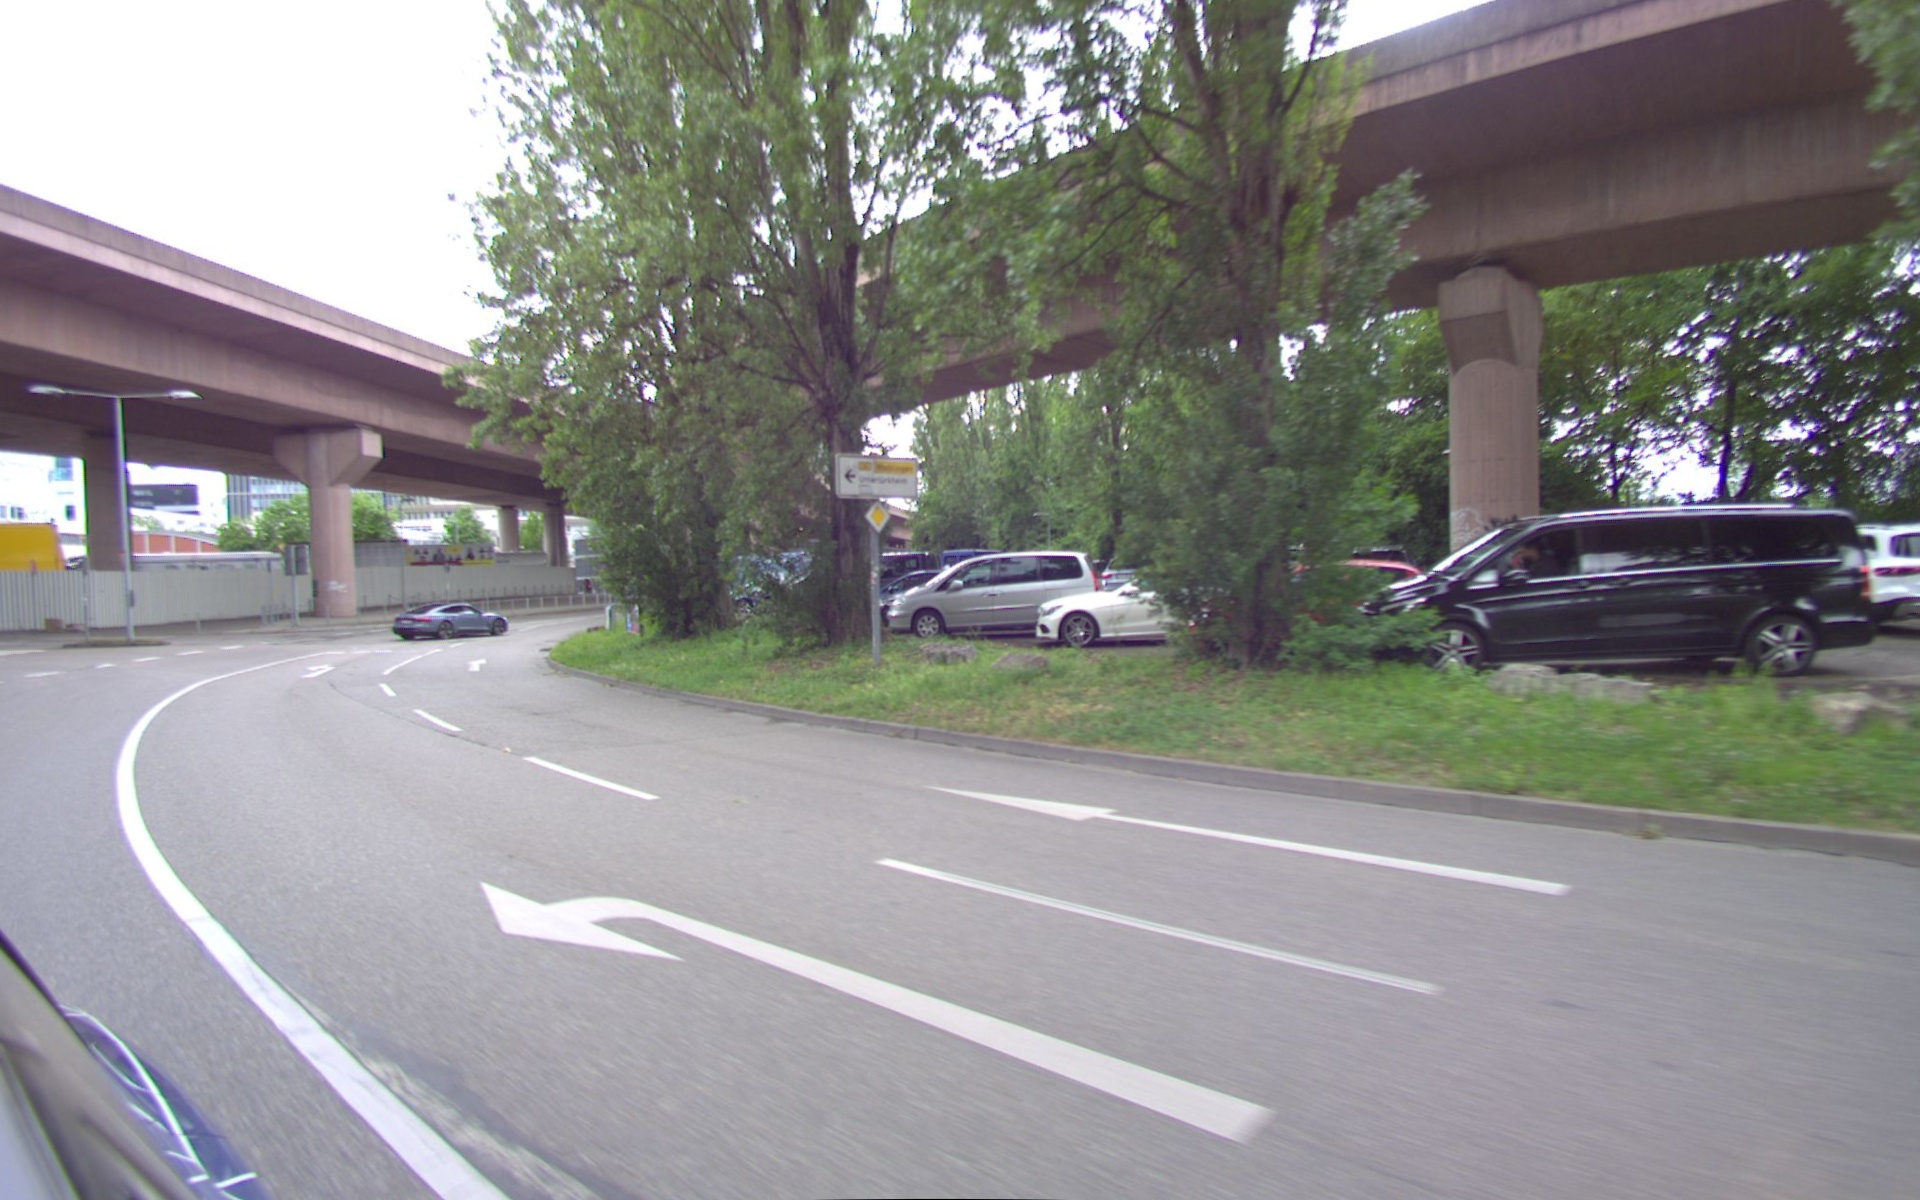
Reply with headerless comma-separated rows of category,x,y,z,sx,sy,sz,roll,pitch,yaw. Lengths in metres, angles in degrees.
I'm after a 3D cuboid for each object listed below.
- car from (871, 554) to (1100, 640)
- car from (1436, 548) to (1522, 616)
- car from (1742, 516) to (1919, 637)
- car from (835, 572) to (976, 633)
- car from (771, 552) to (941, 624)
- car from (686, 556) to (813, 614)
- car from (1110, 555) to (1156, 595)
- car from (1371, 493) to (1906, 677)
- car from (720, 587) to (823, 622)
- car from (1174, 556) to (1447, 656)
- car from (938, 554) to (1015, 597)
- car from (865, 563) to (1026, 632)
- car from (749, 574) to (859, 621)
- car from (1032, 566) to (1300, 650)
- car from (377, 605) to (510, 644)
car,0.586,-0.066,21.229,4.625,1.686,1.691,-1,1,10
car,11.640,-0.417,22.849,1.365,1.399,3.400,-1,1,21
car,14.656,-0.390,16.231,1.718,1.720,4.048,-1,1,12
car,-1.412,0.073,27.136,3.582,1.548,1.694,1,-1,5
car,-3.051,-0.352,30.002,4.676,2.029,1.848,1,-1,14
car,-9.849,-0.704,47.391,5.634,2.600,1.820,1,-1,15
car,5.608,-0.807,33.016,1.382,1.244,2.970,-1,1,8
car,7.733,-0.145,12.056,4.918,1.931,1.852,-1,1,10
car,-7.099,0.176,38.226,3.582,1.243,1.354,1,-1,5
car,5.174,0.084,15.356,3.664,1.390,1.560,-1,1,10
car,0.751,-1.075,44.249,1.639,1.813,3.500,0,1,36
car,-0.306,-0.093,24.012,3.588,1.548,1.691,1,1,10
car,-5.451,-0.080,35.493,3.582,1.576,1.354,1,-1,5
car,3.618,0.141,18.123,4.468,1.374,1.690,-1,1,11
car,-20.395,0.932,40.204,1.918,1.369,4.726,-1,0,18
